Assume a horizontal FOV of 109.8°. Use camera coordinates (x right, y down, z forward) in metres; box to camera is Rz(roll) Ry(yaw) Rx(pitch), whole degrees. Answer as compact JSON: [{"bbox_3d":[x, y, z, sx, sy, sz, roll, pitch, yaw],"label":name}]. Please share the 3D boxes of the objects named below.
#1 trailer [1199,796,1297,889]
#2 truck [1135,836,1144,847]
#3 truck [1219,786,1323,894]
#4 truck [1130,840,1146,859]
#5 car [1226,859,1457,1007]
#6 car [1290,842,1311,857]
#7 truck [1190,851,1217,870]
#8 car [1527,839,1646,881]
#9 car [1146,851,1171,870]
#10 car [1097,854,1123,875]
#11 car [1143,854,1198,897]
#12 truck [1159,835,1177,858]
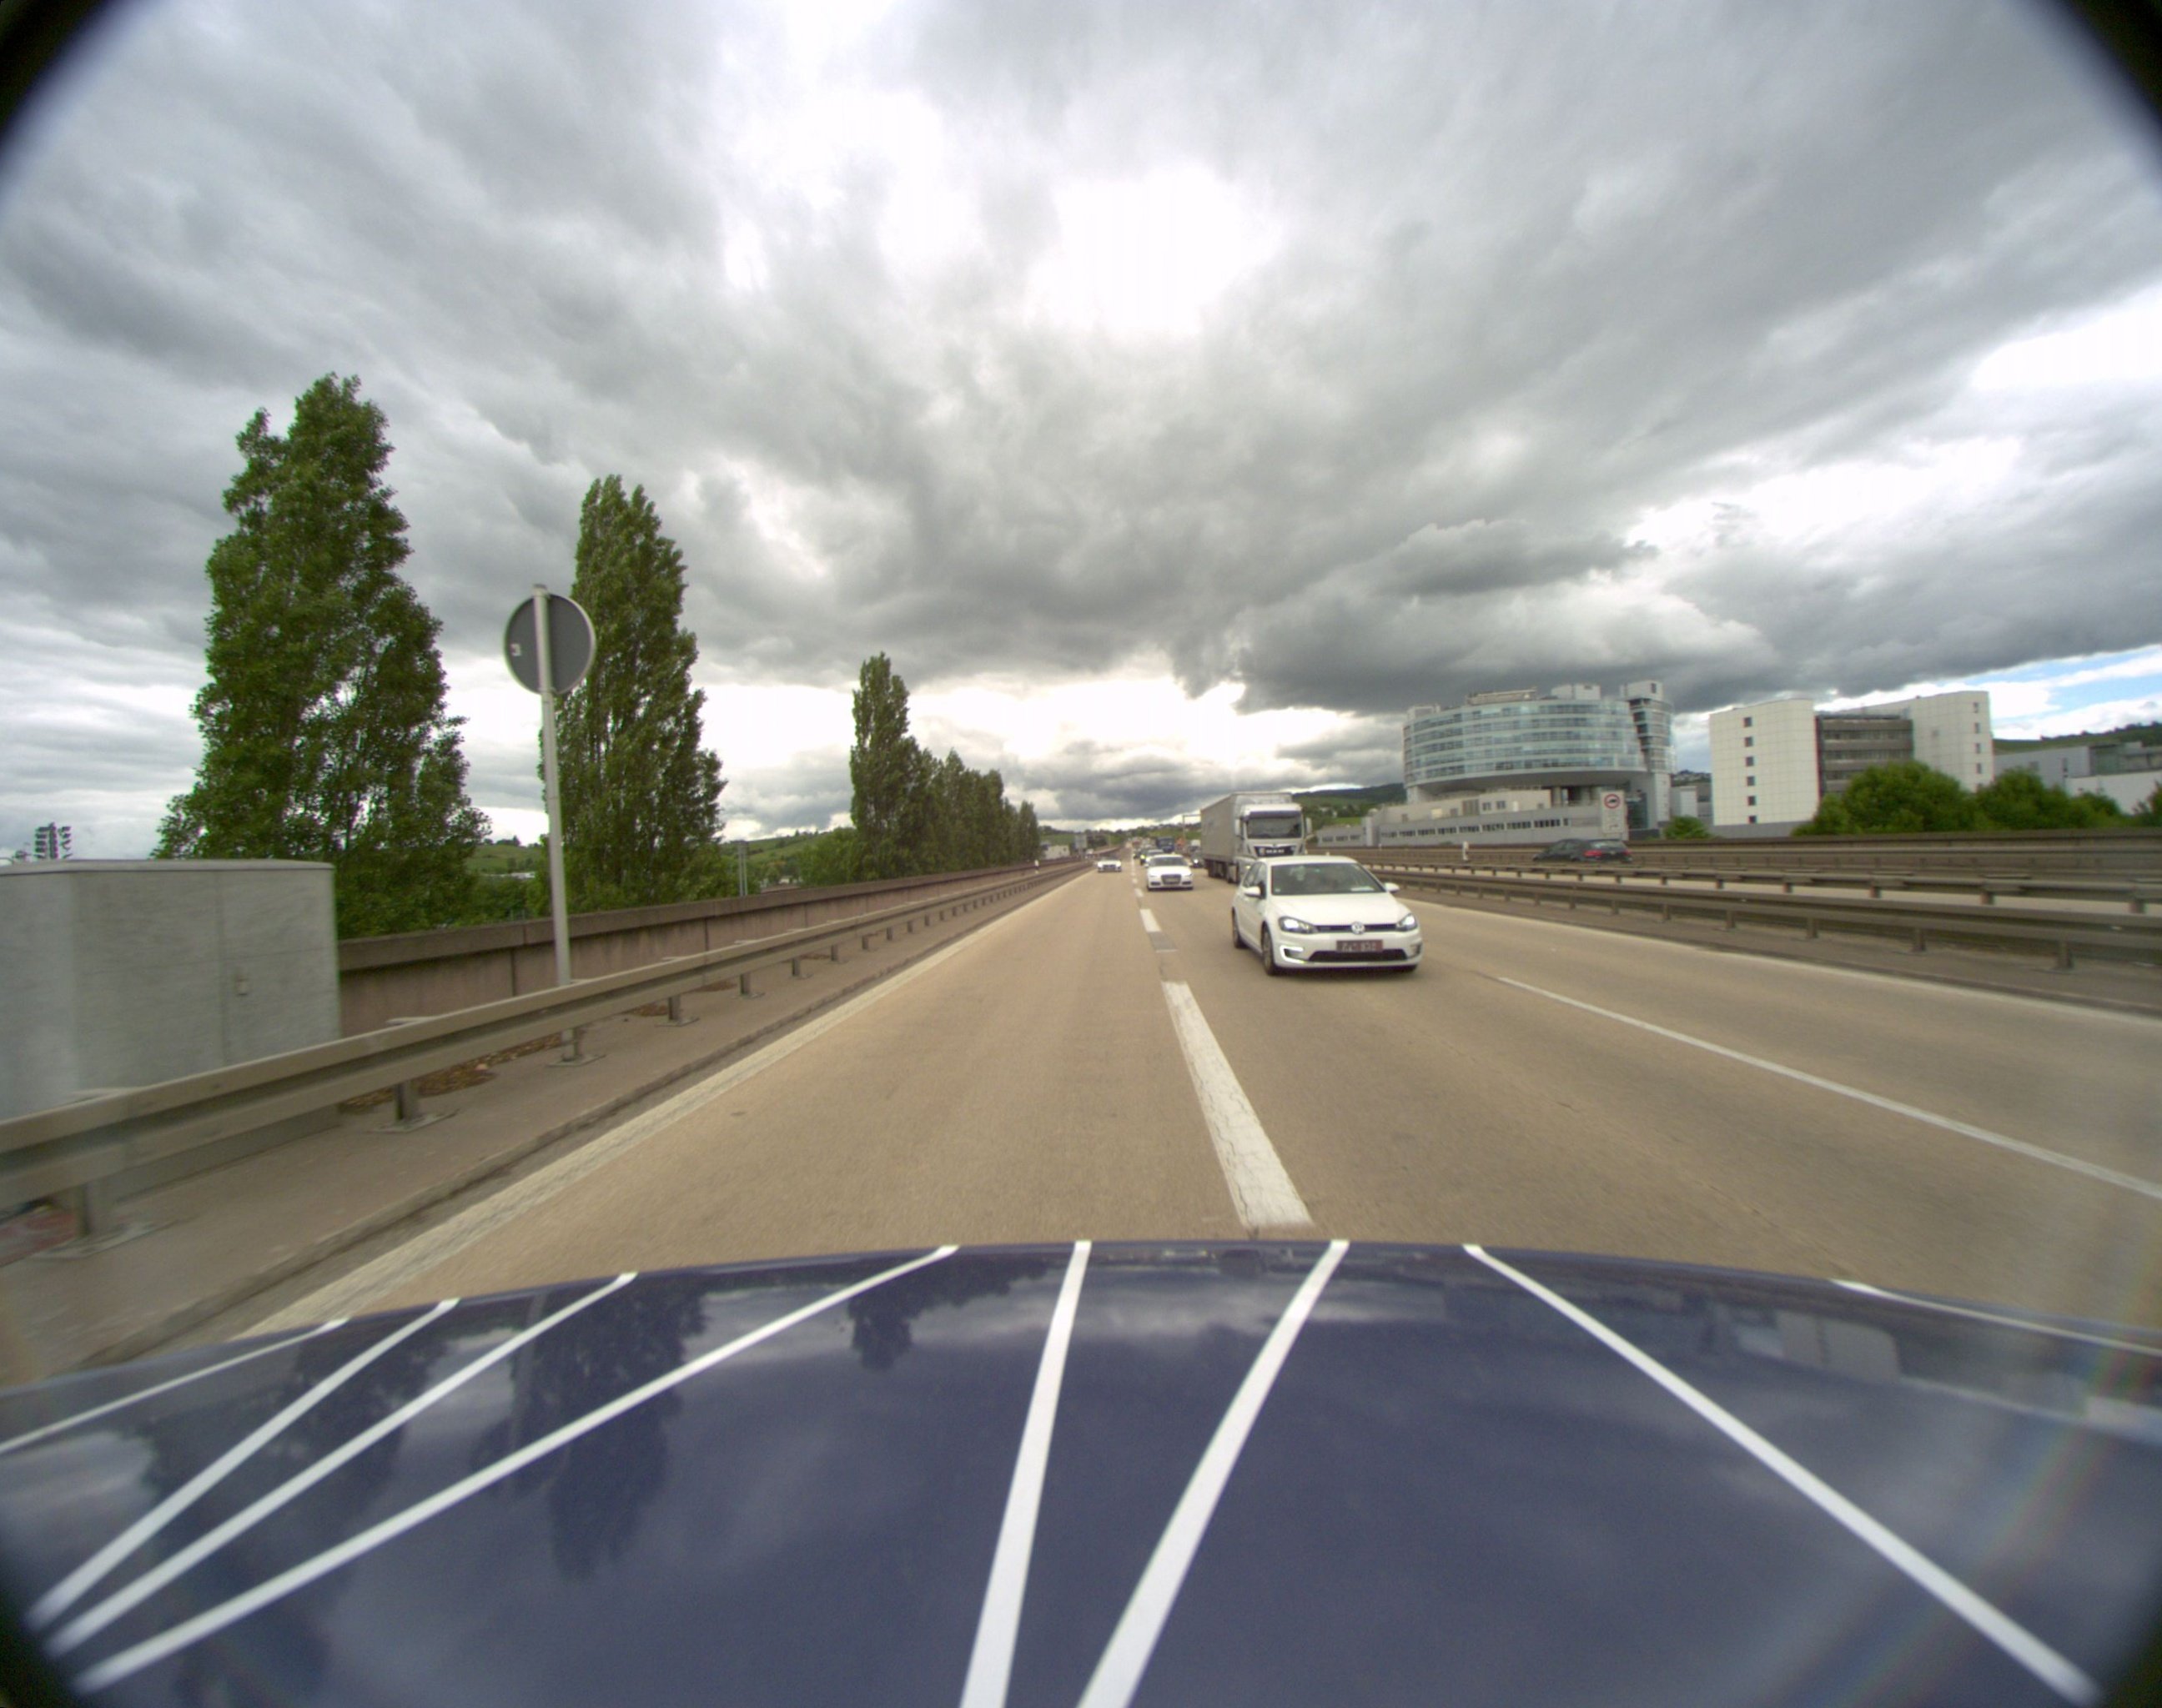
[{"bbox_3d":[8.447,-0.587,40.114,3.188,4.003,11.767,-3,0,4],"label":"trailer"},{"bbox_3d":[18.459,-3.948,241.414,2.625,3.219,6.687,-2,1,4],"label":"truck"},{"bbox_3d":[7.889,-0.580,32.381,3.141,4.014,5.689,-3,1,4],"label":"truck"},{"bbox_3d":[10.123,-0.794,135.464,2.625,3.219,6.687,-2,1,4],"label":"truck"},{"bbox_3d":[3.232,0.883,10.348,1.930,1.499,4.062,-2,1,3],"label":"car"},{"bbox_3d":[26.966,-0.581,93.495,1.687,1.641,3.776,-3,1,3],"label":"car"},{"bbox_3d":[10.204,0.515,63.365,1.829,1.521,3.514,-2,1,3],"label":"truck"},{"bbox_3d":[18.807,0.171,28.527,1.790,1.369,4.230,-3,1,3],"label":"car"},{"bbox_3d":[6.862,0.554,67.597,1.930,1.585,4.062,-3,1,3],"label":"car"},{"bbox_3d":[2.411,0.801,61.257,1.930,1.499,4.062,-3,1,3],"label":"car"},{"bbox_3d":[3.603,0.819,31.111,1.930,1.499,4.062,-3,1,3],"label":"car"},{"bbox_3d":[13.048,-1.162,114.363,2.336,3.219,6.687,-2,1,4],"label":"truck"}]
